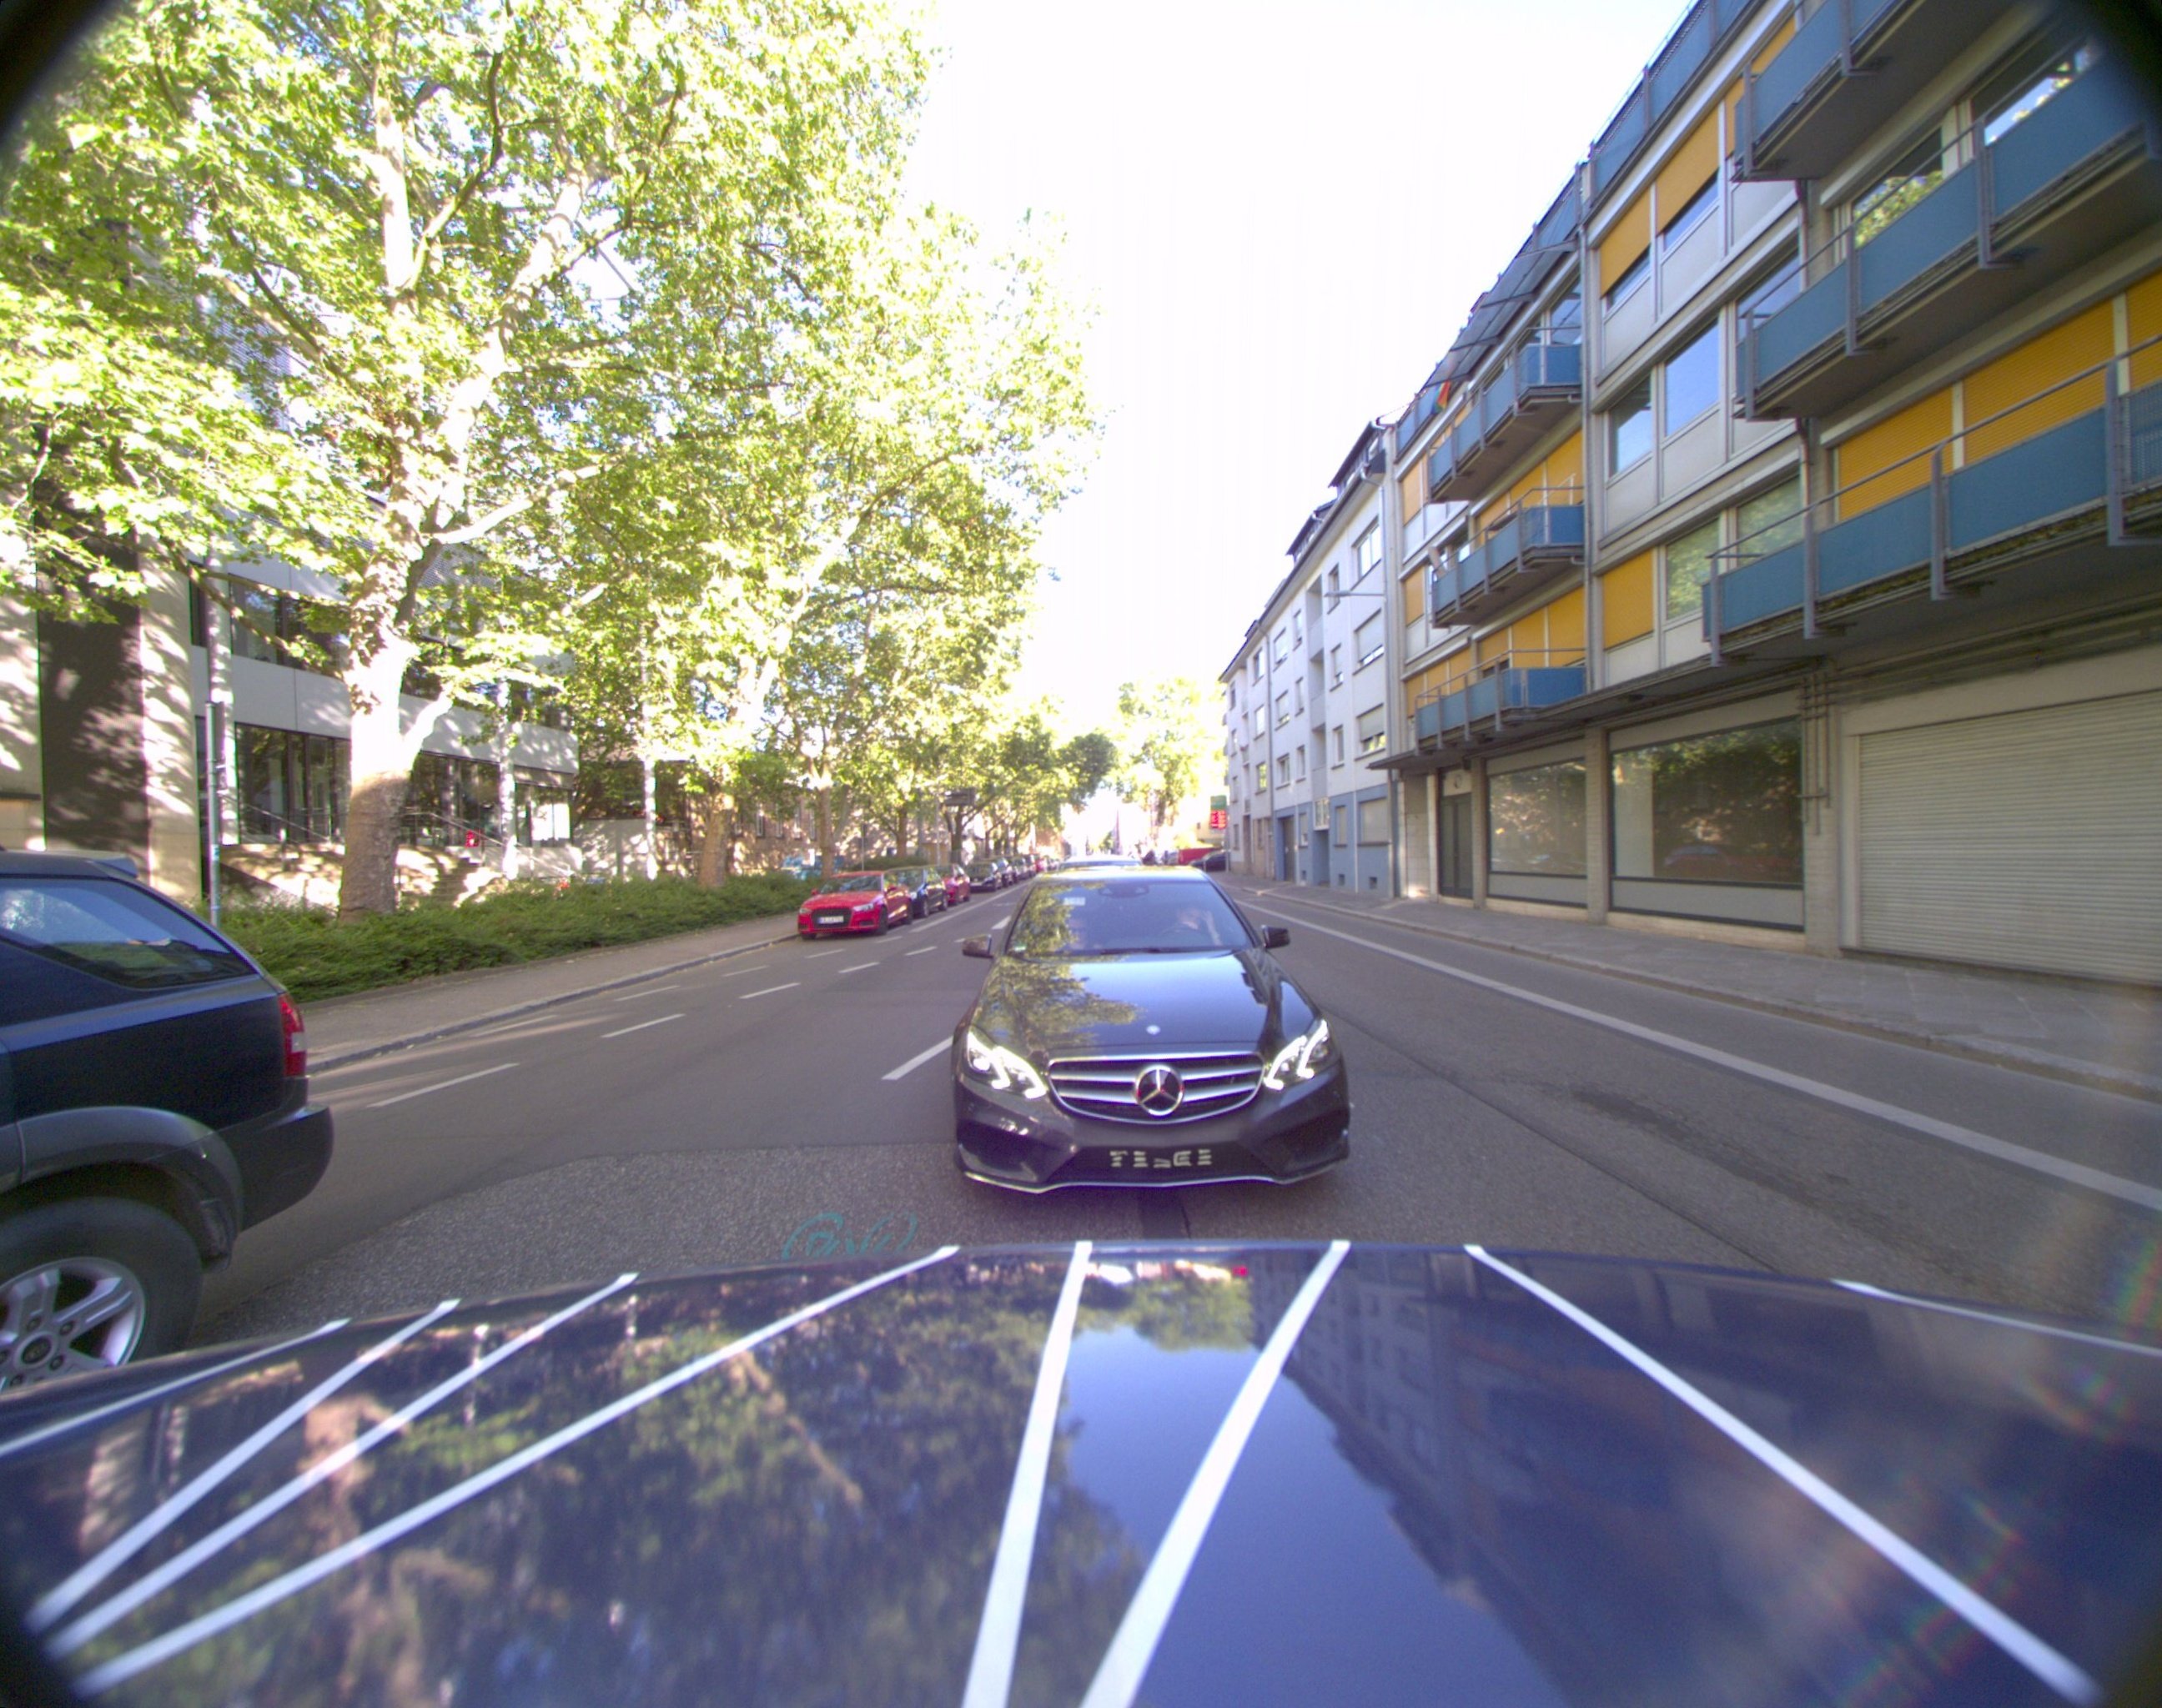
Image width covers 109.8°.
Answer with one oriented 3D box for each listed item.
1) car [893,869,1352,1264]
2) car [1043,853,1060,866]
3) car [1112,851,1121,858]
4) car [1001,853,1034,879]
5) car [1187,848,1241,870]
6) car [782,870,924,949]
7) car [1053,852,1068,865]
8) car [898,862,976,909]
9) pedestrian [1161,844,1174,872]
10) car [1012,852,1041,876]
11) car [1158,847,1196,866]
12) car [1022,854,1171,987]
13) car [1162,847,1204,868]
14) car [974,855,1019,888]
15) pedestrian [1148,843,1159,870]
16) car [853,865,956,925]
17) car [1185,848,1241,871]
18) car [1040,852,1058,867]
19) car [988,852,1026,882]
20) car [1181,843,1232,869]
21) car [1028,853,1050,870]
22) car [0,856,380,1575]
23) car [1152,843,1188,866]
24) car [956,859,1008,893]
[{"bbox_3d":[0.205,0.934,5.408,1.866,1.492,4.481,-2,0,1],"label":"car"},{"bbox_3d":[-3.686,0.662,96.775,1.866,1.632,4.481,-2,0,1],"label":"car"},{"bbox_3d":[8.719,0.164,186.784,1.866,1.632,4.481,-2,0,1],"label":"car"},{"bbox_3d":[-4.509,0.818,54.800,1.866,1.749,4.481,-2,0,1],"label":"car"},{"bbox_3d":[10.708,0.378,61.195,3.996,1.543,2.000,-2,1,2],"label":"car"},{"bbox_3d":[-5.106,1.178,17.731,1.866,1.442,4.481,-2,0,1],"label":"car"},{"bbox_3d":[-2.853,0.600,105.183,1.866,1.632,4.481,-2,0,1],"label":"car"},{"bbox_3d":[-5.091,1.065,27.425,1.866,1.442,4.481,-2,0,1],"label":"car"},{"bbox_3d":[6.506,0.294,57.257,0.735,2.002,1.046,-2,1,0],"label":"pedestrian"},{"bbox_3d":[-4.252,0.756,59.756,1.866,1.749,4.481,-2,0,1],"label":"car"},{"bbox_3d":[10.725,0.243,84.981,3.996,1.936,2.000,-2,1,2],"label":"car"},{"bbox_3d":[0.224,0.859,11.931,1.866,1.630,4.303,-2,0,1],"label":"car"},{"bbox_3d":[10.323,0.346,77.148,3.996,1.936,2.000,-2,1,2],"label":"car"},{"bbox_3d":[-4.626,0.907,42.207,1.866,1.658,4.481,-2,0,1],"label":"car"},{"bbox_3d":[5.513,0.191,57.716,0.735,2.002,0.797,-2,1,1],"label":"pedestrian"},{"bbox_3d":[-5.046,1.124,22.381,1.866,1.442,4.481,-2,0,1],"label":"car"},{"bbox_3d":[10.168,0.425,58.872,3.996,1.543,2.000,-2,1,2],"label":"car"},{"bbox_3d":[-3.799,0.624,89.974,1.866,1.632,4.481,-2,0,1],"label":"car"},{"bbox_3d":[-4.638,0.784,48.133,1.866,1.749,4.481,-2,0,1],"label":"car"},{"bbox_3d":[10.541,0.156,64.026,3.996,1.936,2.000,-2,1,2],"label":"car"},{"bbox_3d":[-4.208,0.704,76.278,1.866,1.632,4.481,-2,0,1],"label":"car"},{"bbox_3d":[-3.624,0.927,0.609,1.866,1.753,4.481,-2,0,1],"label":"car"},{"bbox_3d":[10.479,0.005,89.509,3.996,2.505,2.000,-2,1,2],"label":"car"},{"bbox_3d":[-4.760,1.024,37.172,1.866,1.442,4.481,-2,0,1],"label":"car"}]
